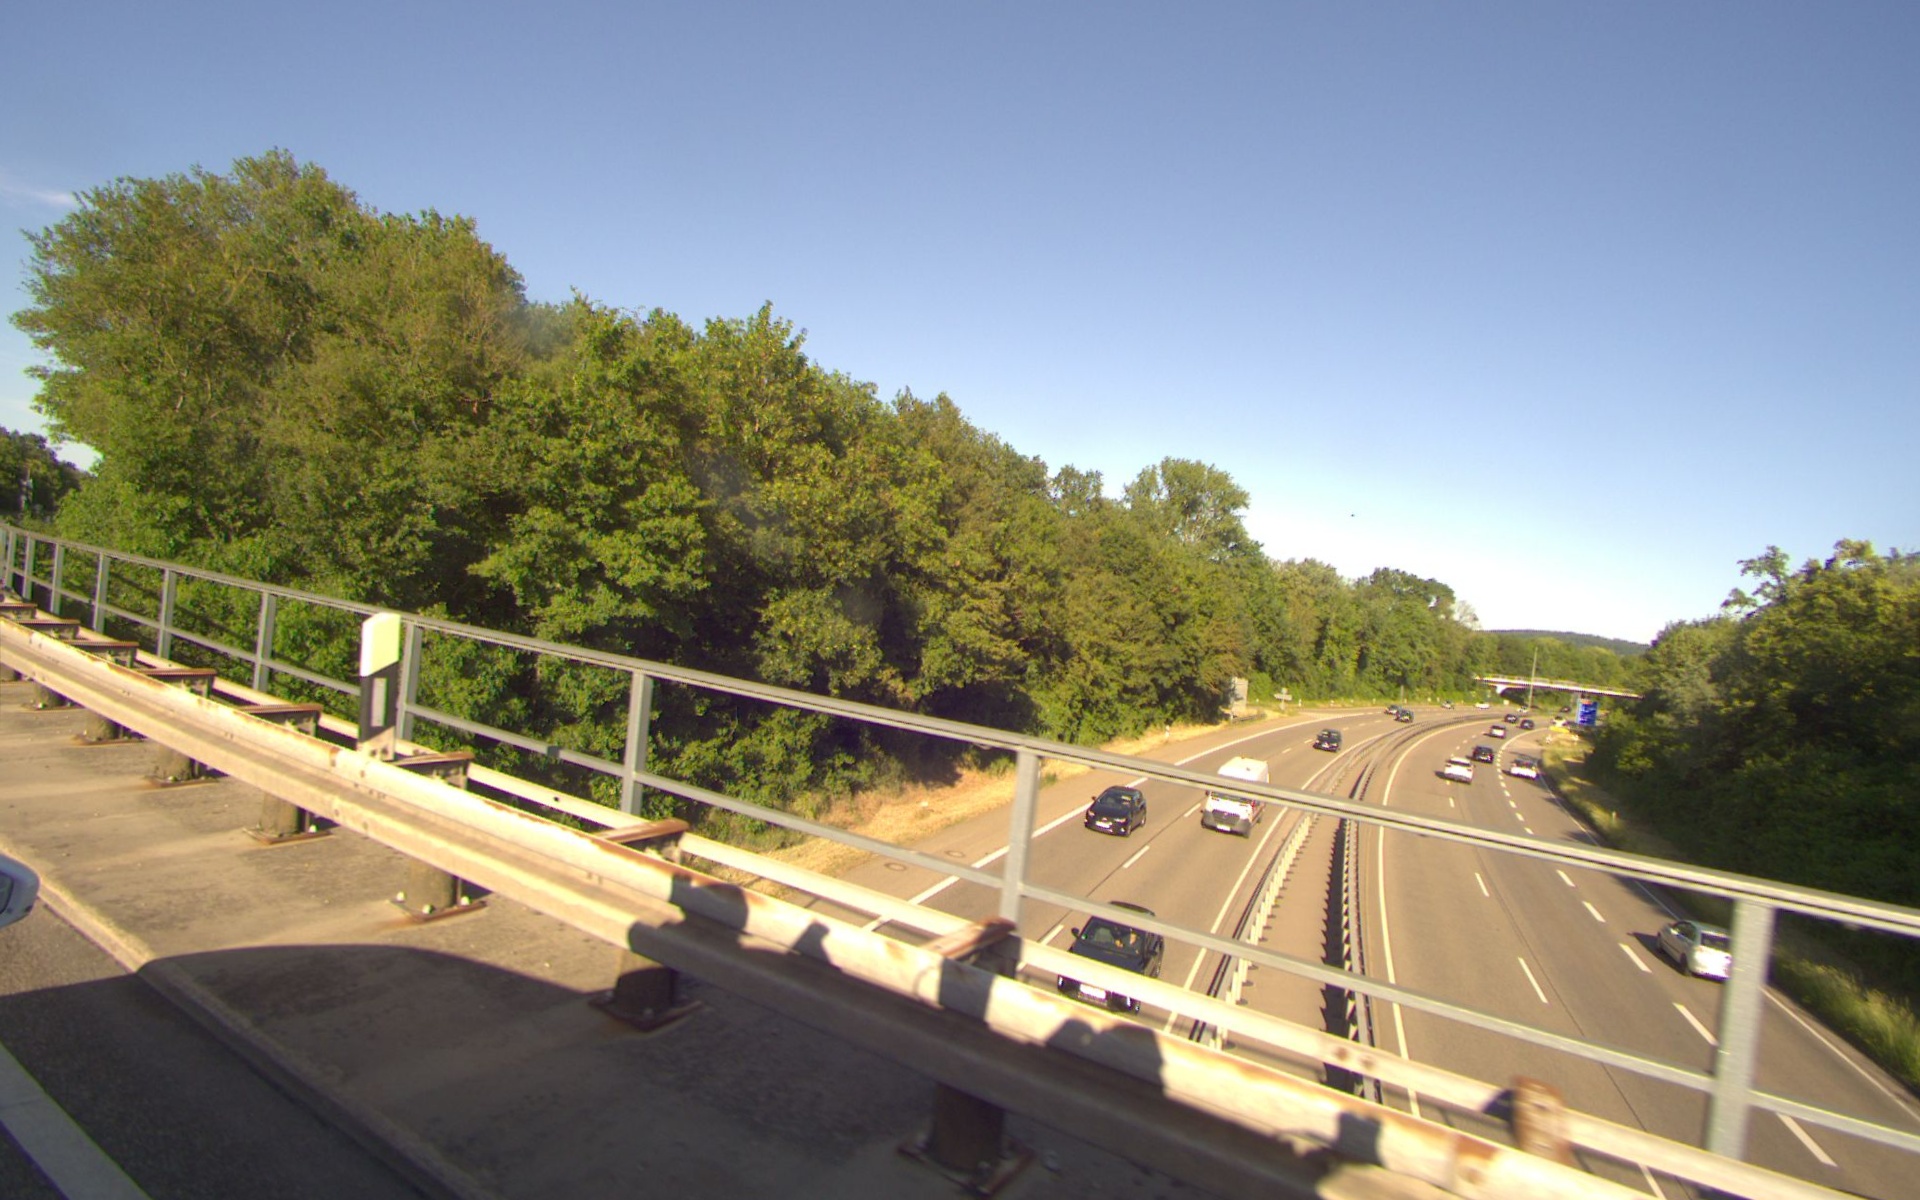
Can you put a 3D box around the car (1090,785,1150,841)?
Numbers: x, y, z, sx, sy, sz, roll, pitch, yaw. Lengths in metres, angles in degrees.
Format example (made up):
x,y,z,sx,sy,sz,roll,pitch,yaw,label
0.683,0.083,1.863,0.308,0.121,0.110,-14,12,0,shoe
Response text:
x,y,z,sx,sy,sz,roll,pitch,yaw,label
6.330,8.331,39.589,1.389,1.357,3.581,8,1,22,car

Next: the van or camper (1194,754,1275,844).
x,y,z,sx,sy,sz,roll,pitch,yaw,label
12.236,8.626,44.378,2.180,2.677,6.826,10,1,23,van or camper

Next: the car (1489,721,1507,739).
x,y,z,sx,sy,sz,roll,pitch,yaw,label
68.218,16.420,127.547,1.729,1.860,3.995,8,0,29,car

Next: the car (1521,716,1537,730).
x,y,z,sx,sy,sz,roll,pitch,yaw,label
88.497,19.118,156.428,1.731,1.860,3.990,8,0,33,car

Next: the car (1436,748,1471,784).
x,y,z,sx,sy,sz,roll,pitch,yaw,label
35.201,11.813,71.707,1.858,1.861,3.831,9,1,28,car

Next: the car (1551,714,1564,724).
x,y,z,sx,sy,sz,roll,pitch,yaw,label
111.827,22.305,188.233,1.731,1.531,3.850,7,0,33,car

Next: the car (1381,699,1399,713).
x,y,z,sx,sy,sz,roll,pitch,yaw,label
64.661,15.885,151.299,1.693,1.672,3.695,9,2,32,car

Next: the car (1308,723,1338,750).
x,y,z,sx,sy,sz,roll,pitch,yaw,label
30.674,11.510,84.990,1.867,1.817,3.900,9,0,25,car

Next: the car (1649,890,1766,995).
x,y,z,sx,sy,sz,roll,pitch,yaw,label
22.370,10.213,30.291,1.711,1.683,3.868,8,1,22,car

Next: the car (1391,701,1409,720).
x,y,z,sx,sy,sz,roll,pitch,yaw,label
60.329,15.175,137.955,1.964,2.040,3.994,9,2,25,car

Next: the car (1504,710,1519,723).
x,y,z,sx,sy,sz,roll,pitch,yaw,label
92.409,19.473,168.474,1.731,1.861,3.989,8,1,33,car

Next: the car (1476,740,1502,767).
x,y,z,sx,sy,sz,roll,pitch,yaw,label
47.476,13.708,90.273,1.729,1.860,3.995,8,0,29,car

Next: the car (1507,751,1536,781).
x,y,z,sx,sy,sz,roll,pitch,yaw,label
45.494,13.416,81.542,1.729,1.860,3.871,8,0,29,car

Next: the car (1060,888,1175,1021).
x,y,z,sx,sy,sz,roll,pitch,yaw,label
3.665,7.914,22.849,1.483,1.506,3.996,8,1,23,car
